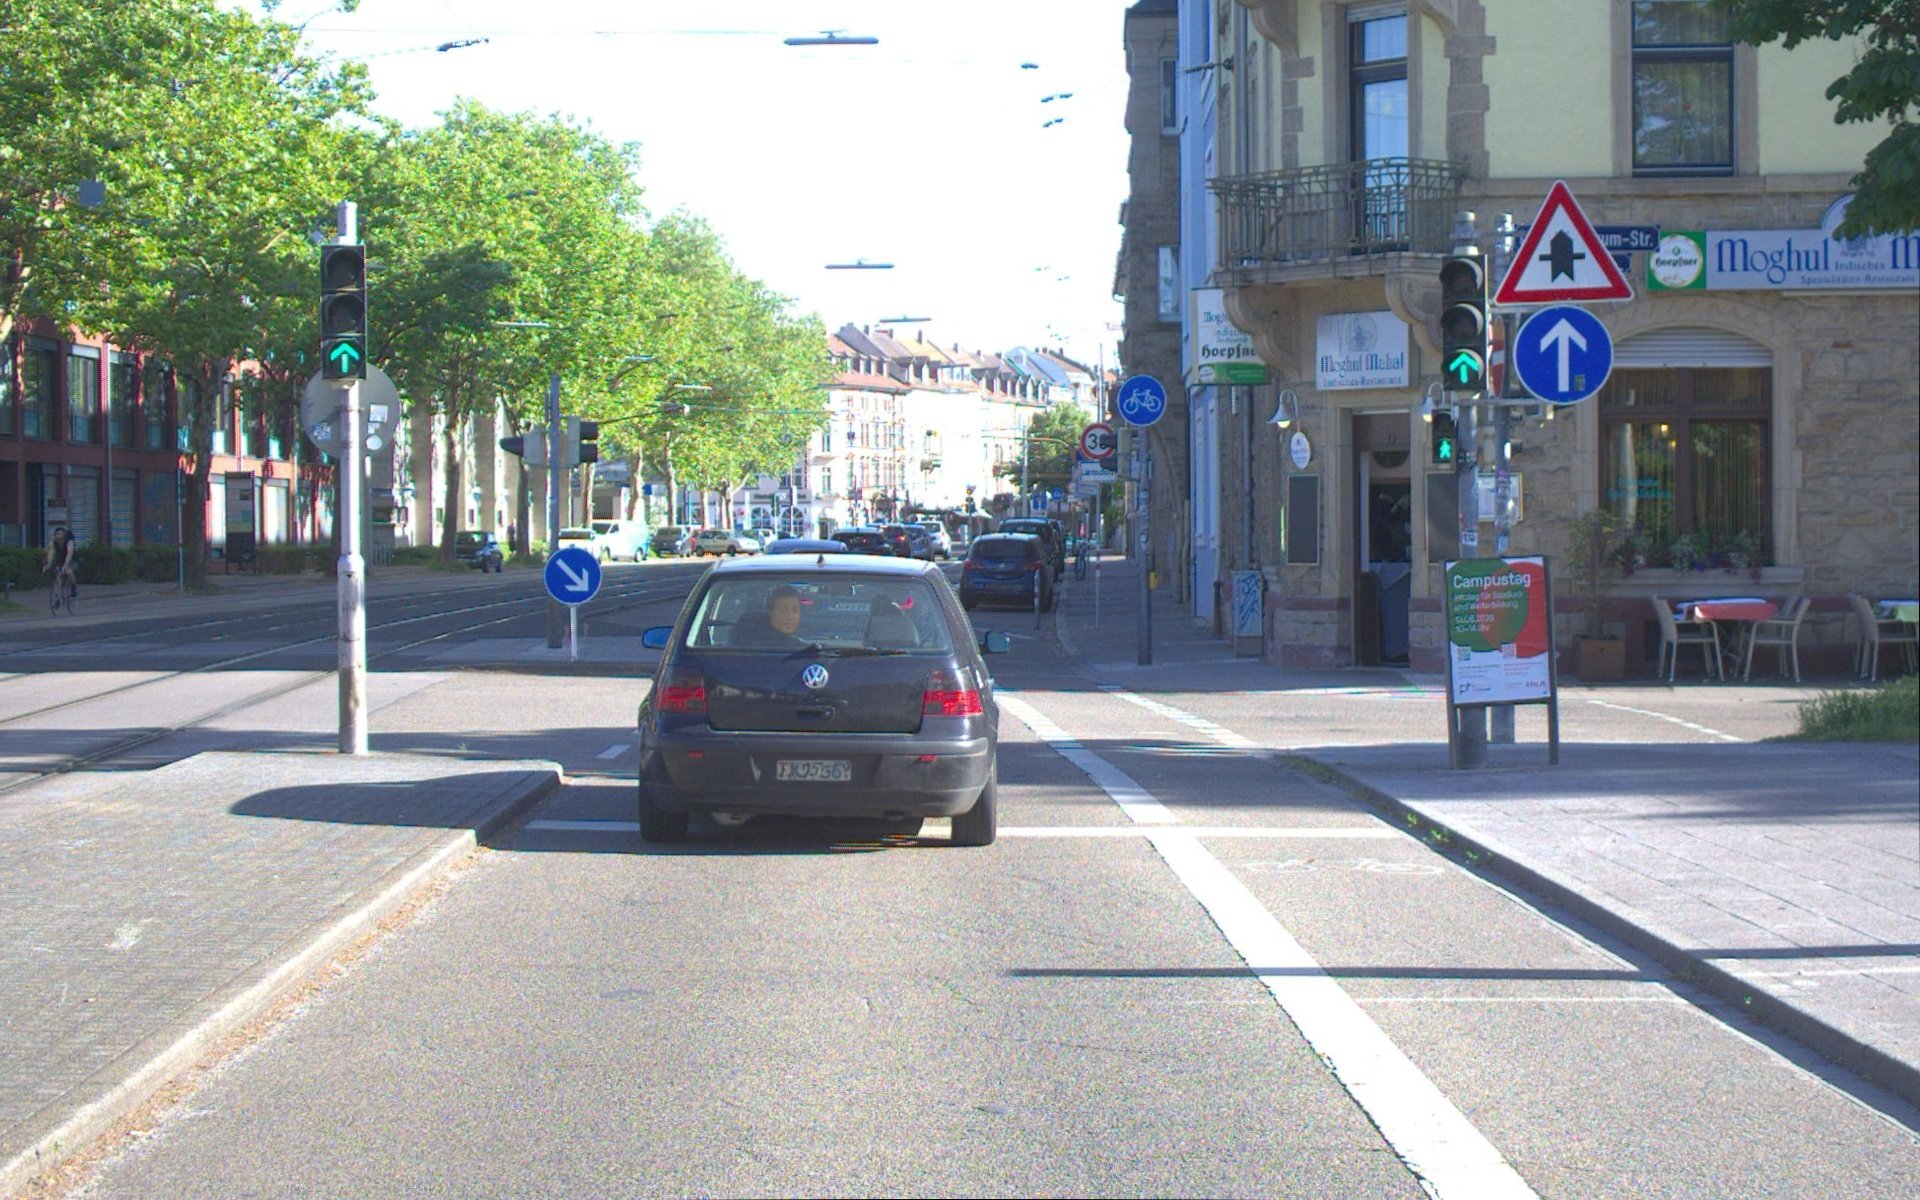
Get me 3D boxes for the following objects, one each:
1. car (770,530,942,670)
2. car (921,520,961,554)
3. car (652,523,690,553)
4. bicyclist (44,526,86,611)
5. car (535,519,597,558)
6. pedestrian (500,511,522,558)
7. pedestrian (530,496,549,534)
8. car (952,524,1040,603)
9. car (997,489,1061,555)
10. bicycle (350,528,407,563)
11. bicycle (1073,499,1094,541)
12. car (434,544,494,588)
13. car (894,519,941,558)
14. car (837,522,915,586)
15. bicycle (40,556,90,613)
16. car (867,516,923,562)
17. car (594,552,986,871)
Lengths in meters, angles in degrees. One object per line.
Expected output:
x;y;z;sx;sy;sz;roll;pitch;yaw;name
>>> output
-1.184;-0.044;40.686;1.749;1.532;3.891;0;2;2;car
-0.820;-2.803;151.962;1.636;1.467;3.729;0;1;2;car
-15.177;-3.266;180.493;1.570;1.528;3.572;0;0;2;car
-17.298;-0.611;66.469;0.645;1.606;0.781;1;2;-7;bicyclist
-16.733;-2.630;146.138;2.011;1.567;4.694;2;2;0;car
-18.241;-2.652;139.744;0.784;1.863;0.671;1;2;-13;pedestrian
-20.442;-4.144;167.183;0.796;1.814;0.670;2;2;2;pedestrian
0.730;-0.731;67.282;1.655;1.477;4.000;1;1;1;car
1.997;-2.236;98.363;1.753;1.849;4.815;1;1;2;car
-21.705;-2.041;128.334;2.008;1.274;0.664;1;2;2;bicycle
3.436;-2.237;95.746;0.514;1.136;2.259;-2;2;1;bicycle
-17.584;-1.202;121.967;1.507;1.449;3.463;-1;-1;2;car
-1.627;-2.354;131.948;1.636;1.467;3.729;0;1;2;car
-1.959;-1.109;81.258;1.636;1.467;3.729;0;1;2;car
-17.308;-0.308;66.517;0.645;1.039;1.926;1;2;-7;bicycle
-2.099;-1.991;111.919;1.636;1.467;3.729;0;1;2;car
-0.752;0.477;17.509;1.748;1.370;4.000;0;2;1;car
